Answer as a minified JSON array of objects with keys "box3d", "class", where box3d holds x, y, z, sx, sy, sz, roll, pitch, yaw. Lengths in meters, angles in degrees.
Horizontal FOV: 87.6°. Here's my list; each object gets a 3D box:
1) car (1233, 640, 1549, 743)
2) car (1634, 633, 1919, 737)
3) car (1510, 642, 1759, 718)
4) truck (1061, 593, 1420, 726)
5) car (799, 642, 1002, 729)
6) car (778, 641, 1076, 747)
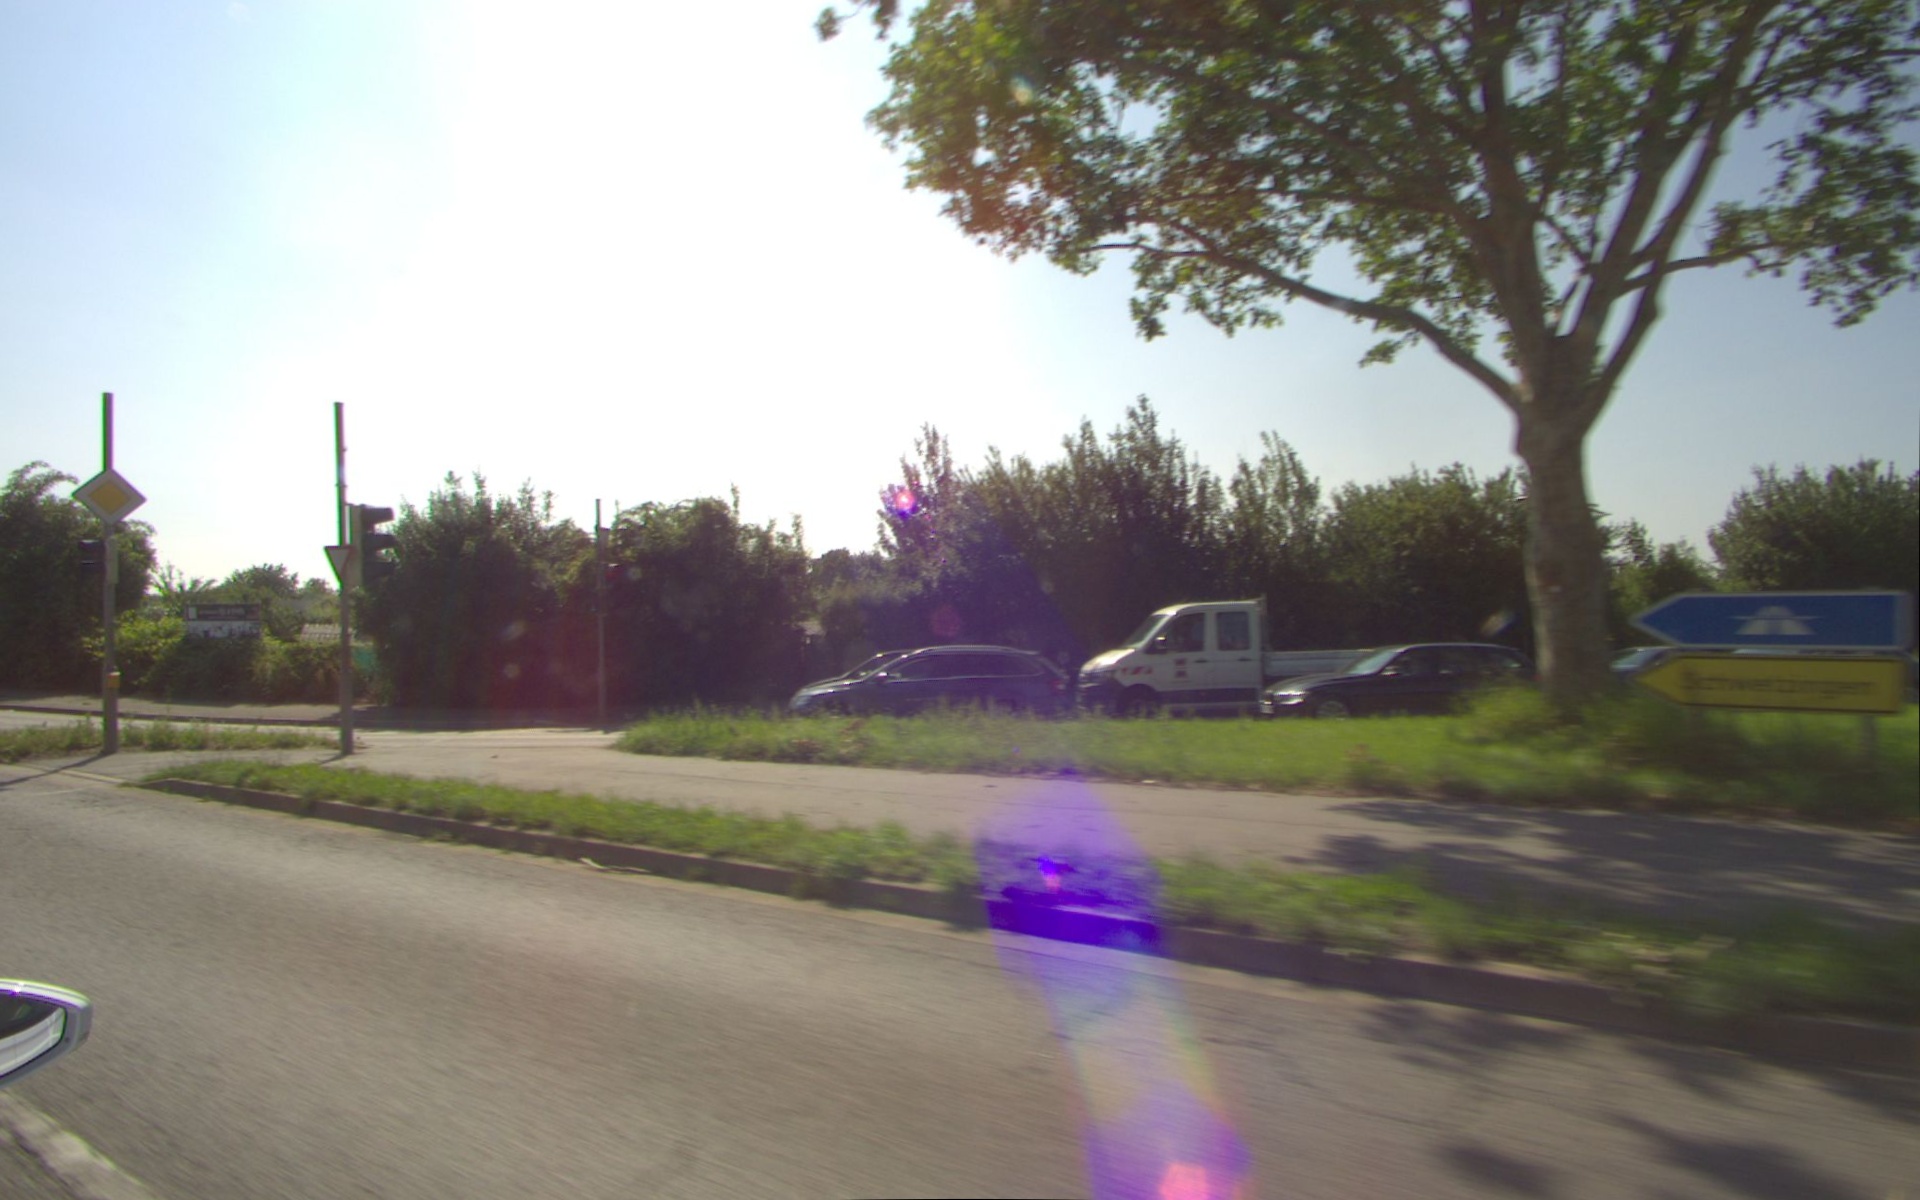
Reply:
[{"box3d":[7.038,1.469,16.695,4.382,1.547,2.001,0,-2,-2],"class":"car"},{"box3d":[14.348,1.424,17.207,4.383,1.655,1.888,0,-3,-7],"class":"car"},{"box3d":[13.757,1.610,20.545,3.923,1.437,1.892,0,-3,-7],"class":"car"},{"box3d":[5.294,1.166,19.675,6.349,2.415,2.347,0,-3,-1],"class":"truck"},{"box3d":[-1.076,1.626,19.282,3.750,1.566,1.623,0,-3,2],"class":"car"},{"box3d":[-0.482,1.474,16.221,4.527,1.567,2.001,0,-1,2],"class":"car"}]
